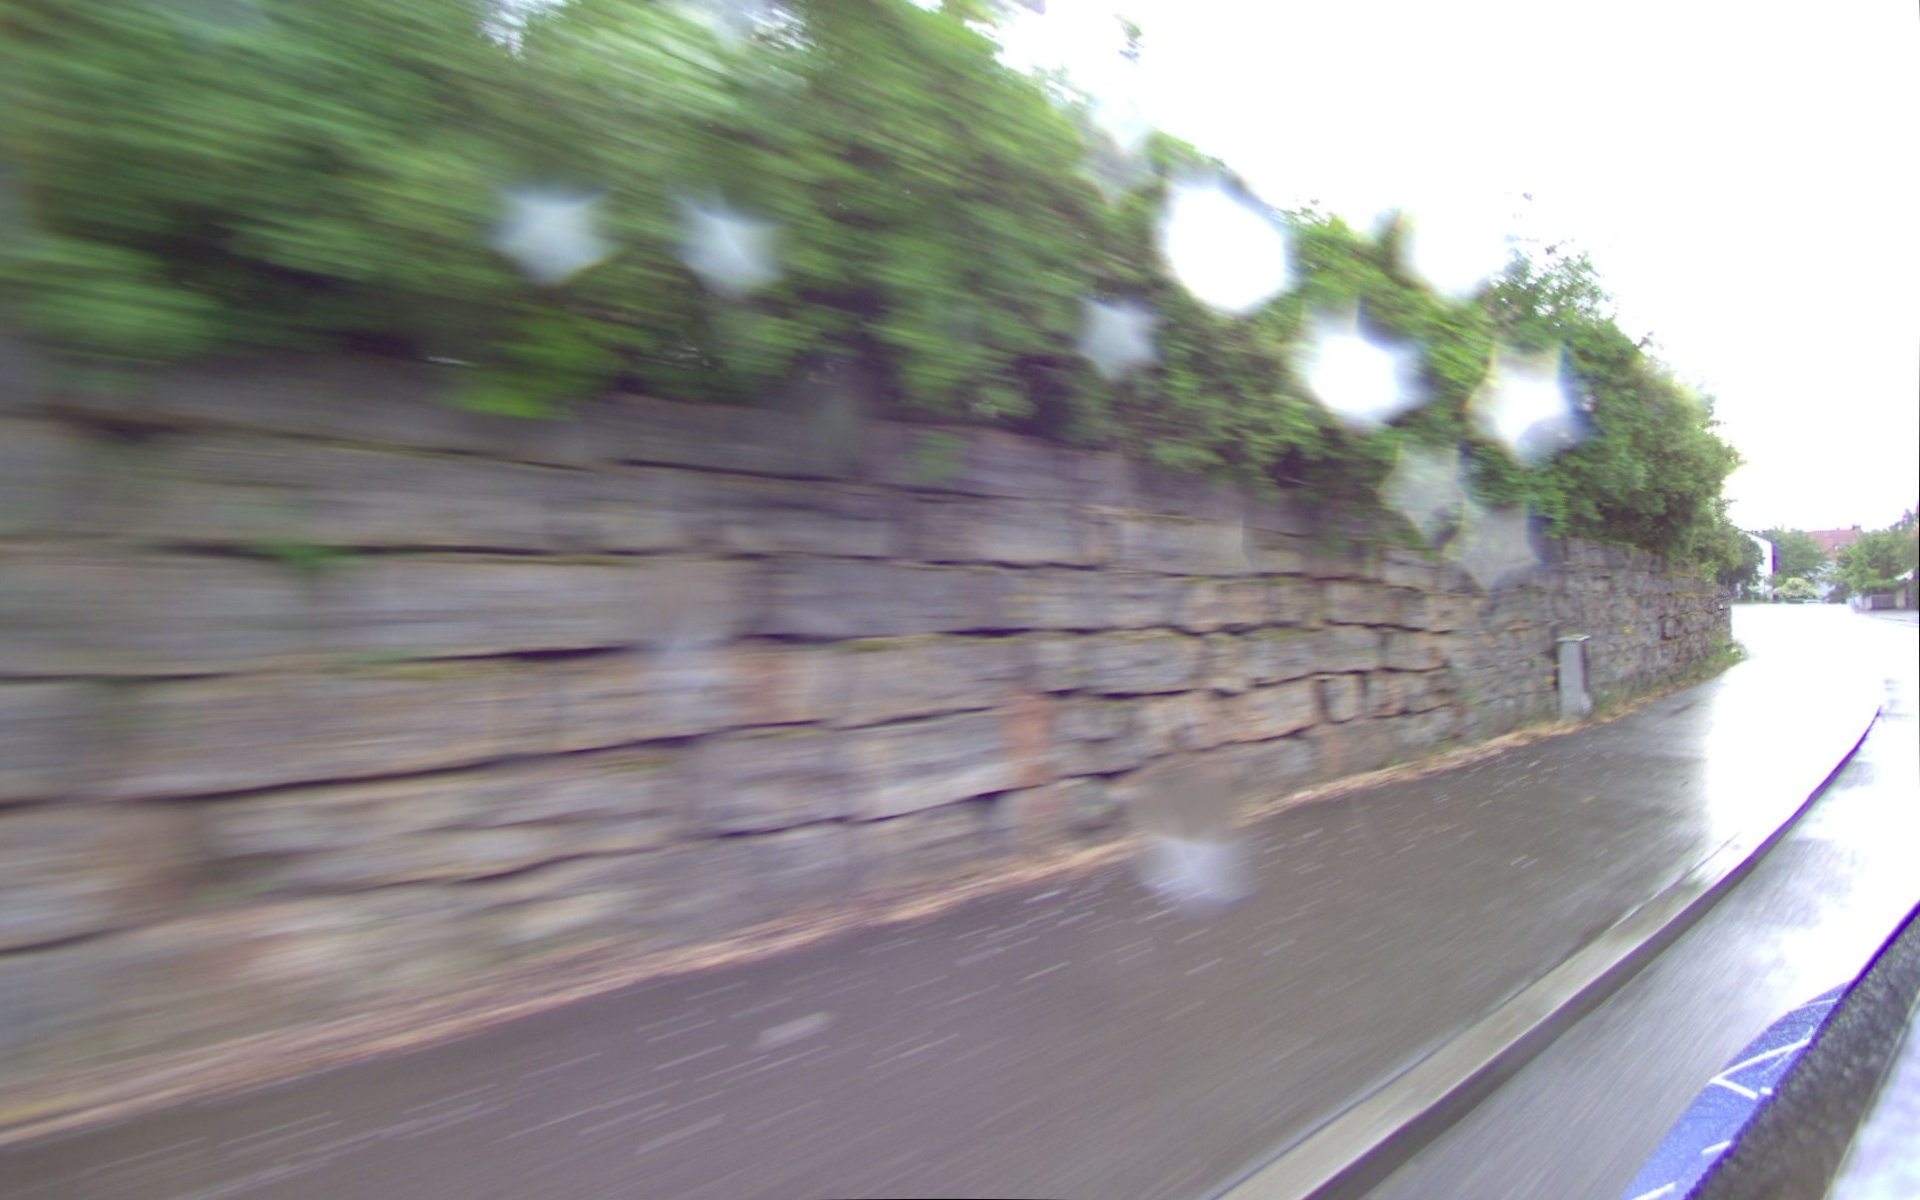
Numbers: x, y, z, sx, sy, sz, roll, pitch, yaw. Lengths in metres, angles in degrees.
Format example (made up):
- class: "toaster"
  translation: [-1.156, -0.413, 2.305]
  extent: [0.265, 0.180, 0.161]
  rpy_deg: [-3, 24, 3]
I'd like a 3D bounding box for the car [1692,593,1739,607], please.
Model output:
- class: "car"
  translation: [81.853, 0.011, 109.635]
  extent: [3.980, 1.473, 1.972]
  rpy_deg: [0, 0, 39]
